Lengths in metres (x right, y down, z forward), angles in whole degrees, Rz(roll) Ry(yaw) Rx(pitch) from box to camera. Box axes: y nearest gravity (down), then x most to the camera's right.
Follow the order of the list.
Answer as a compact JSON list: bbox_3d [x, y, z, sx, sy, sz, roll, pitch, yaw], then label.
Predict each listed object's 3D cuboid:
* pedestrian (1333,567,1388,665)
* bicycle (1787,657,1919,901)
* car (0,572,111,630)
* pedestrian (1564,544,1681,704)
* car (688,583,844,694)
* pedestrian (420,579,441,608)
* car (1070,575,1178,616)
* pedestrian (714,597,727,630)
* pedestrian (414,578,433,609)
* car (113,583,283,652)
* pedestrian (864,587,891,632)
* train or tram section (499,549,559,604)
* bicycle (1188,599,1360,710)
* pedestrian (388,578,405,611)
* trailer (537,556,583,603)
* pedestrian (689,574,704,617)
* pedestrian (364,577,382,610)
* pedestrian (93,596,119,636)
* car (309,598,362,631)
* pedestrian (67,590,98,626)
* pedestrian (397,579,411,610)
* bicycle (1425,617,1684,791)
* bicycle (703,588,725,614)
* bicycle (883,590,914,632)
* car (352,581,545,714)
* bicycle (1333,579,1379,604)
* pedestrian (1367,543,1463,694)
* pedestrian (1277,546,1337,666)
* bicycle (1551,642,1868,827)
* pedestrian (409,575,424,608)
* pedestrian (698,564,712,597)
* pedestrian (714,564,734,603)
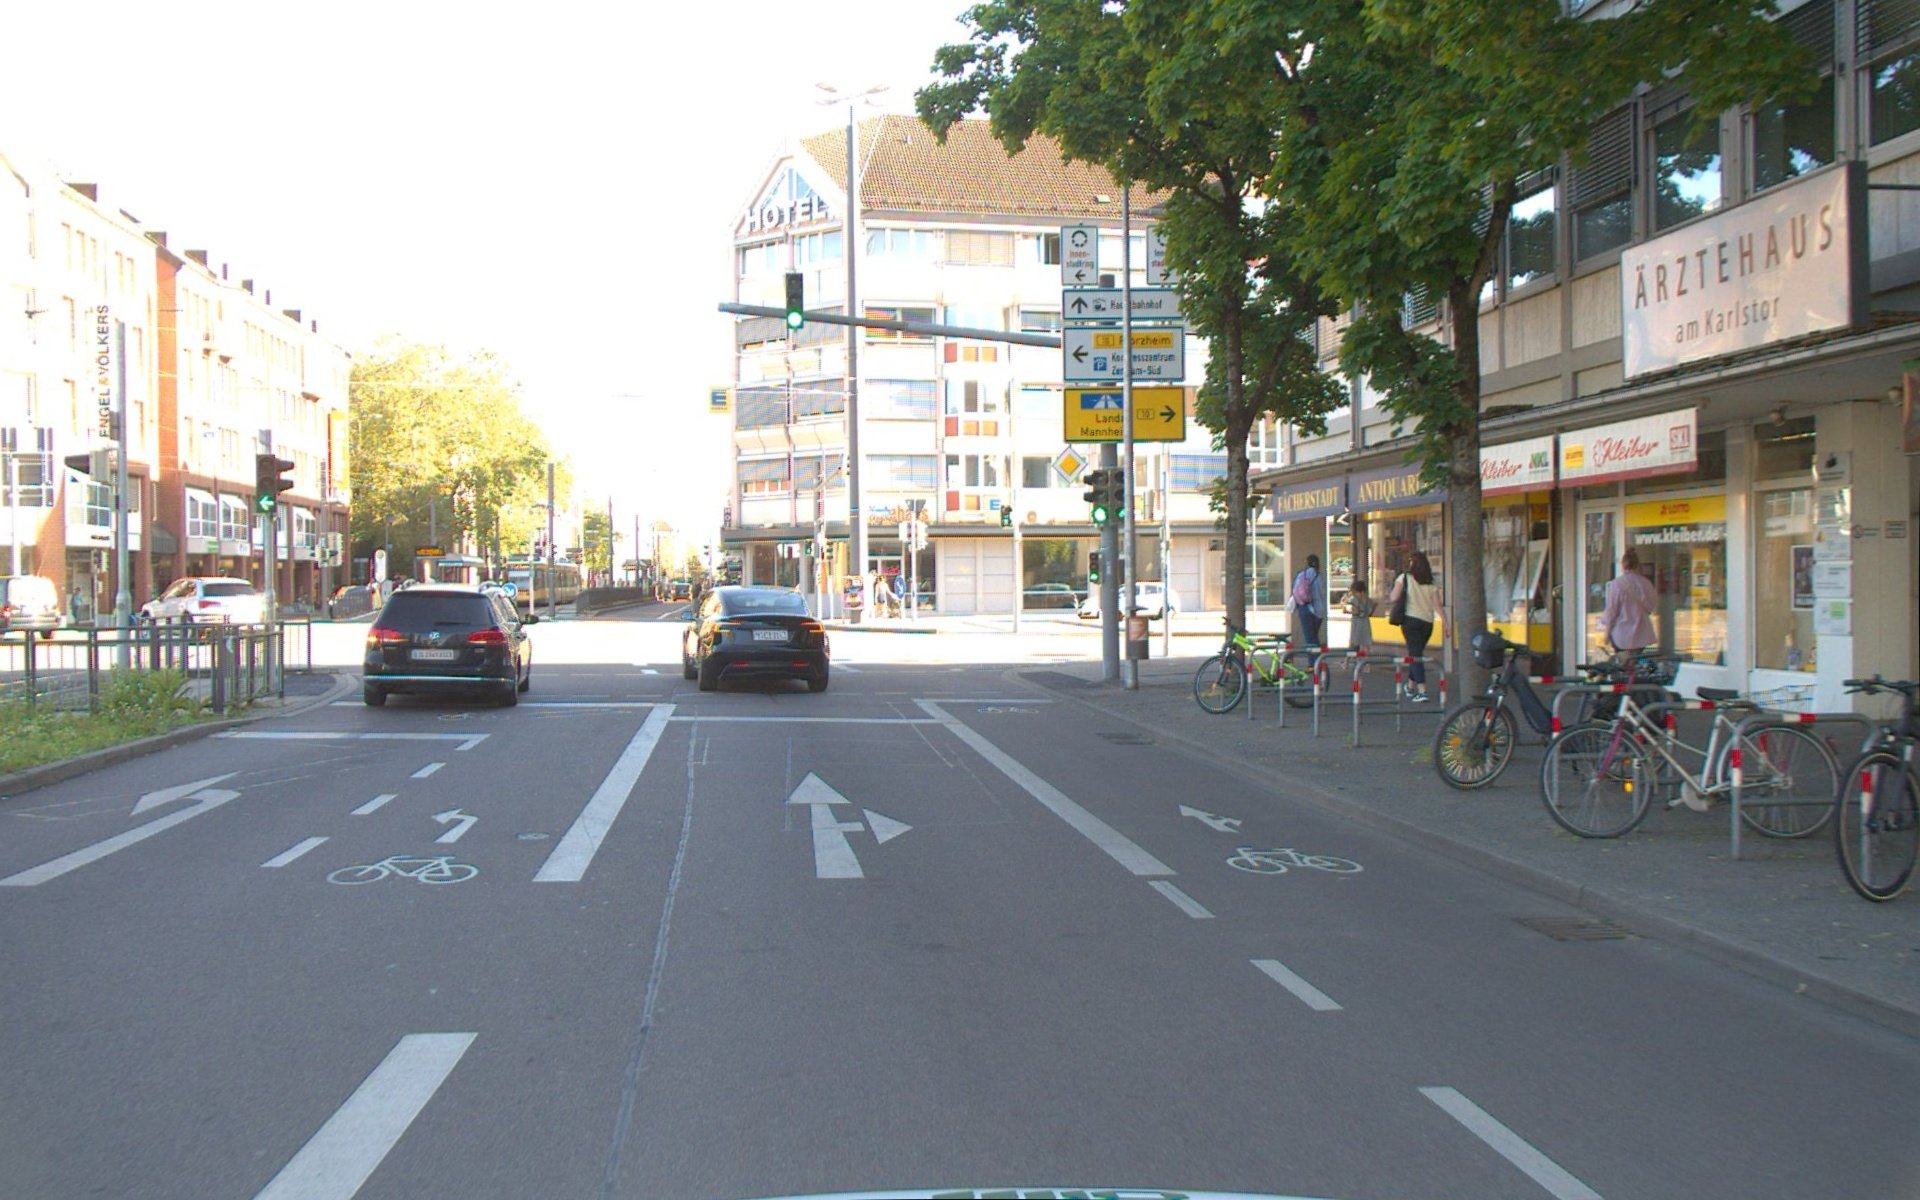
[{"bbox_3d":[5.994,0.234,24.766,0.632,1.447,0.620,0,0,-4],"label":"pedestrian"},{"bbox_3d":[4.957,0.817,8.109,1.821,1.074,0.397,-2,0,-17],"label":"bicycle"},{"bbox_3d":[-26.907,0.025,48.548,3.695,1.646,1.577,0,0,25],"label":"car"},{"bbox_3d":[6.963,0.244,17.411,0.826,1.630,0.879,0,0,-6],"label":"pedestrian"},{"bbox_3d":[-2.915,0.515,24.151,1.760,1.476,3.925,1,0,-14],"label":"car"},{"bbox_3d":[-29.573,-0.362,92.370,1.087,1.653,0.844,0,0,-16],"label":"pedestrian"},{"bbox_3d":[6.265,-0.150,63.431,3.772,1.457,1.798,-1,-2,-11],"label":"car"},{"bbox_3d":[-12.705,0.710,87.738,0.683,1.707,0.748,0,0,-8],"label":"pedestrian"},{"bbox_3d":[-29.639,-0.359,91.352,0.983,1.653,0.844,0,0,-16],"label":"pedestrian"},{"bbox_3d":[-19.065,0.433,41.476,3.400,1.663,1.847,0,0,8],"label":"car"},{"bbox_3d":[-2.947,0.332,59.130,0.768,1.604,0.862,0,1,-20],"label":"pedestrian"},{"bbox_3d":[-29.340,-1.532,112.842,2.677,3.604,10.069,0,0,-7],"label":"train or tram section"},{"bbox_3d":[3.625,0.614,19.110,1.853,1.176,0.480,-3,0,-5],"label":"bicycle"},{"bbox_3d":[-29.713,-0.303,87.270,0.571,1.751,0.637,-1,0,21],"label":"pedestrian"},{"bbox_3d":[-31.979,-1.561,132.496,2.662,3.608,9.342,0,0,-8],"label":"trailer"},{"bbox_3d":[-11.163,-0.206,70.014,0.615,1.813,0.916,0,0,-9],"label":"pedestrian"},{"bbox_3d":[-28.539,-0.311,80.412,0.622,1.591,0.586,0,0,7],"label":"pedestrian"},{"bbox_3d":[-35.468,0.669,68.727,0.698,1.622,0.775,2,0,-8],"label":"pedestrian"},{"bbox_3d":[-31.869,0.733,84.494,1.784,1.571,3.783,-3,0,-10],"label":"car"},{"bbox_3d":[-38.969,0.338,73.478,0.865,1.595,0.864,-1,0,16],"label":"pedestrian"},{"bbox_3d":[-27.869,-0.284,82.903,0.575,1.557,0.633,0,0,-23],"label":"pedestrian"},{"bbox_3d":[4.315,0.739,12.017,1.776,1.171,0.434,-1,0,-10],"label":"bicycle"},{"bbox_3d":[-11.456,0.057,76.861,0.482,1.181,1.958,0,0,-25],"label":"bicycle"},{"bbox_3d":[-2.217,0.382,59.301,0.574,1.489,1.676,-1,1,-21],"label":"bicycle"},{"bbox_3d":[-6.273,0.513,20.743,1.732,1.469,4.518,1,1,-10],"label":"car"},{"bbox_3d":[17.341,-0.376,72.351,1.934,1.067,0.534,-1,0,-14],"label":"bicycle"},{"bbox_3d":[5.378,0.208,19.575,0.826,1.737,0.879,0,0,-6],"label":"pedestrian"},{"bbox_3d":[5.179,0.092,24.744,0.825,1.751,0.881,0,0,10],"label":"pedestrian"},{"bbox_3d":[4.568,0.808,10.127,1.731,1.075,0.458,0,0,-1],"label":"bicycle"},{"bbox_3d":[-29.628,-0.461,90.149,0.622,1.751,0.609,0,0,0],"label":"pedestrian"},{"bbox_3d":[-12.288,-0.923,79.667,0.467,1.590,0.538,0,0,-35],"label":"pedestrian"},{"bbox_3d":[-11.007,-0.764,77.177,0.897,1.785,0.838,0,0,-6],"label":"pedestrian"}]
